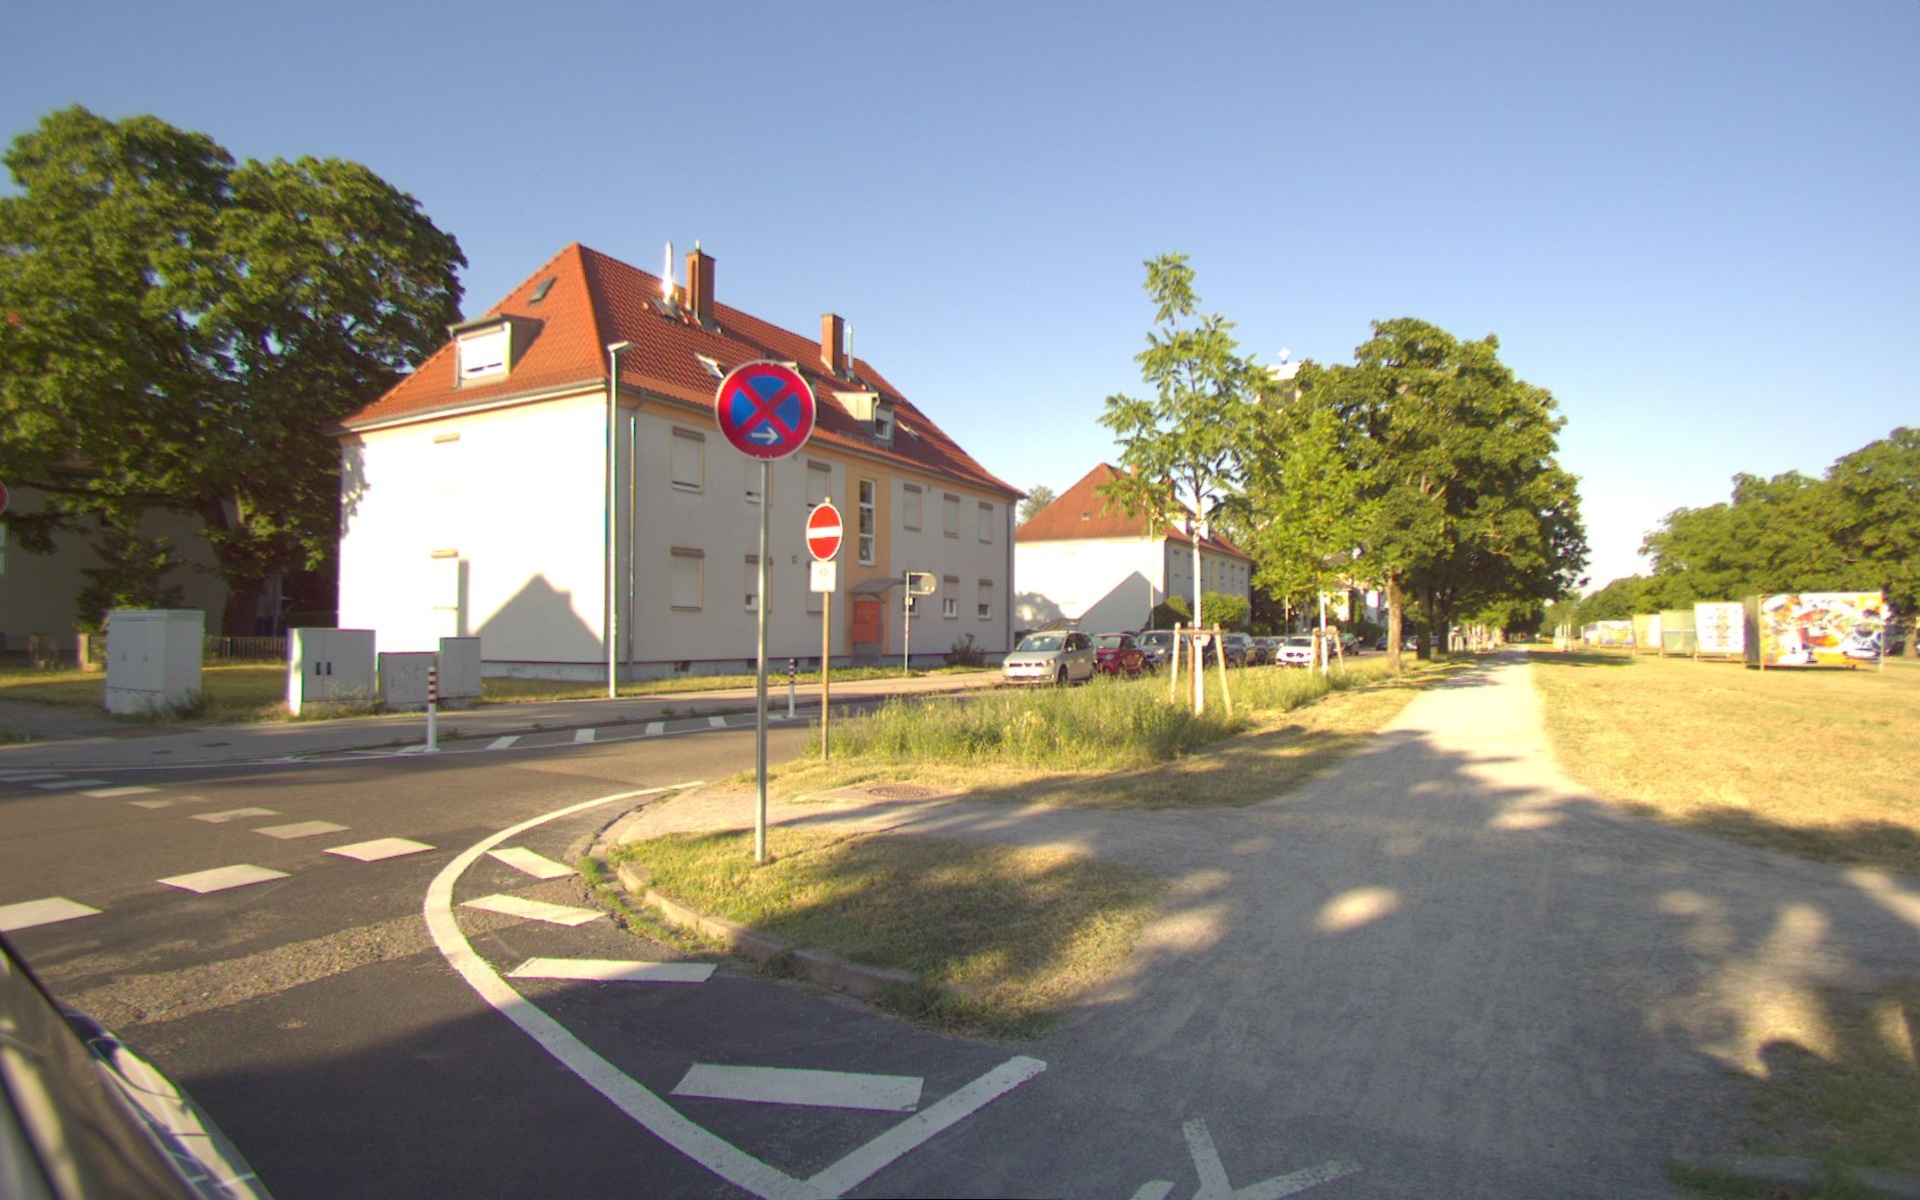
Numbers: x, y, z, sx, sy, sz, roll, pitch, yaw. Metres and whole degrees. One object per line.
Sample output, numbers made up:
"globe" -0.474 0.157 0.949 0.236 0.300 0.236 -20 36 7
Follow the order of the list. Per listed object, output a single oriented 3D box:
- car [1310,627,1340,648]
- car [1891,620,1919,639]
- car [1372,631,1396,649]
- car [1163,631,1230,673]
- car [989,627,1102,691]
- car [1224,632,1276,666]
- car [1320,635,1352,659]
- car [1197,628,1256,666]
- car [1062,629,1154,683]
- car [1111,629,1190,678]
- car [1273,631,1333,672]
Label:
"car" 30.834 3.134 85.475 1.842 1.708 3.962 -3 -3 27
"car" 90.436 2.812 96.454 1.843 1.755 3.852 -1 -2 32
"car" 42.355 3.991 101.004 1.842 1.708 3.962 -3 -3 27
"car" 10.172 2.191 43.339 1.842 1.708 3.962 -3 -3 27
"car" 2.554 1.673 29.368 1.842 1.708 3.962 -3 -3 27
"car" 15.179 2.533 52.858 1.842 1.708 3.962 -3 -3 27
"car" 28.138 3.500 75.742 1.799 1.730 3.311 0 -1 29
"car" 12.731 2.226 48.258 1.842 1.708 3.962 -3 -3 27
"car" 5.092 1.863 34.436 1.842 1.708 3.962 -3 -3 27
"car" 7.229 1.987 38.104 1.842 1.708 3.962 -3 -3 27
"car" 15.471 2.294 45.525 1.862 1.708 4.260 -3 -3 27
